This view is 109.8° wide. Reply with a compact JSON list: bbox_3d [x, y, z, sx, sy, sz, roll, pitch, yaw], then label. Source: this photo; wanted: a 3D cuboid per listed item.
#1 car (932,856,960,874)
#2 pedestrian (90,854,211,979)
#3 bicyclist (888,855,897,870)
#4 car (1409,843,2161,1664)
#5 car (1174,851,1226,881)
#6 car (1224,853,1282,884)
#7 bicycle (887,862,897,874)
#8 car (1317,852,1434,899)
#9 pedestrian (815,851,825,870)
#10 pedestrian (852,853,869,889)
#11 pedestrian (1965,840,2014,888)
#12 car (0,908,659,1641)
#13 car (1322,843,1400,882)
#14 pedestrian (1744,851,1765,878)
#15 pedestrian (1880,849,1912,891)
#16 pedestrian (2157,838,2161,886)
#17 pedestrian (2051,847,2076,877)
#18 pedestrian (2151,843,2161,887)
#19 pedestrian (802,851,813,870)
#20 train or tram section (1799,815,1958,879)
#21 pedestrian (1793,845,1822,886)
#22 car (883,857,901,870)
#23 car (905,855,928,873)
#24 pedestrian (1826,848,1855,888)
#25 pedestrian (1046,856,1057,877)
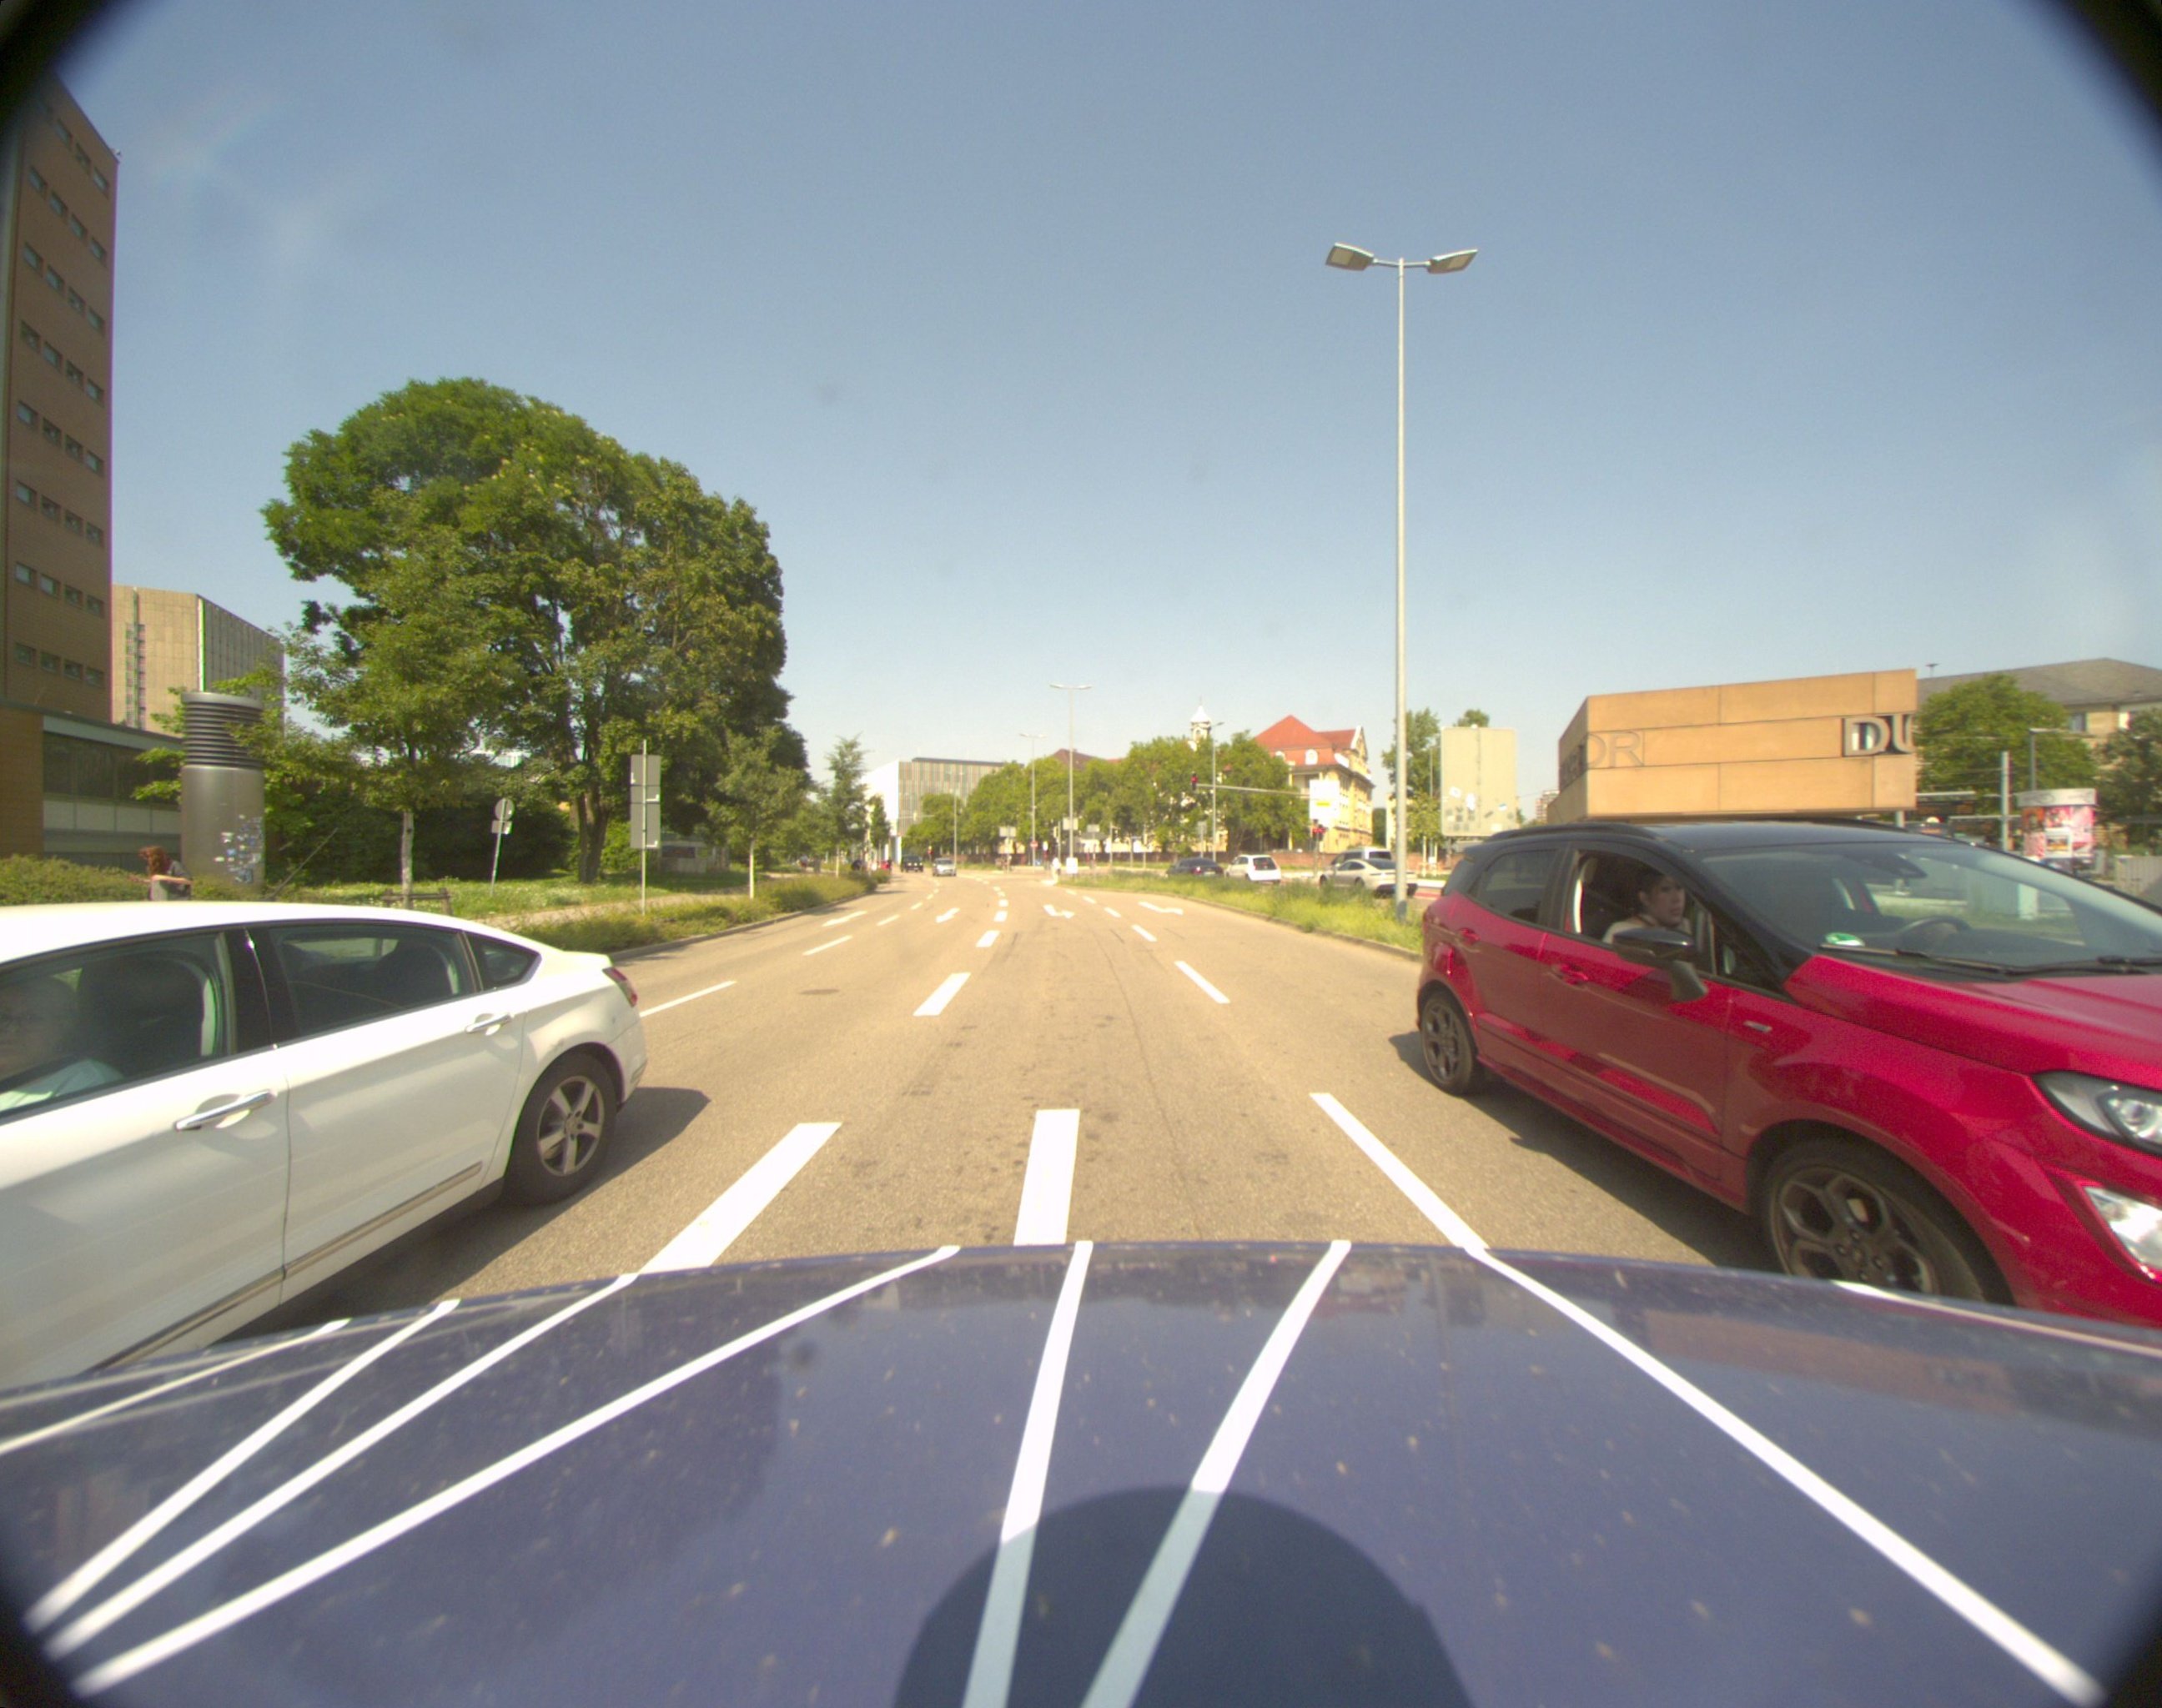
[{"bbox_3d":[-11.939,0.975,67.097,1.661,1.521,4.526,-2,0,-19],"label":"car"},{"bbox_3d":[-13.040,0.849,10.675,0.672,1.689,0.806,0,1,-1],"label":"pedestrian"},{"bbox_3d":[-18.508,0.839,74.520,0.680,1.392,1.047,-1,1,-23],"label":"bicyclist"},{"bbox_3d":[3.030,0.776,3.256,1.694,1.577,3.845,-2,0,2],"label":"car"},{"bbox_3d":[5.713,0.552,36.899,1.526,1.417,3.474,0,0,-8],"label":"car"},{"bbox_3d":[8.681,0.706,38.552,1.527,1.470,3.473,0,0,-12],"label":"car"},{"bbox_3d":[-18.562,1.377,74.640,0.595,1.162,2.231,-1,0,-23],"label":"bicycle"},{"bbox_3d":[10.640,0.729,27.912,2.000,1.576,4.712,0,0,-7],"label":"car"},{"bbox_3d":[-17.867,0.419,52.068,0.577,1.291,0.437,-3,1,-18],"label":"pedestrian"},{"bbox_3d":[-11.785,0.914,40.609,0.823,1.892,0.630,-1,1,-12],"label":"pedestrian"},{"bbox_3d":[28.243,0.308,23.622,0.771,1.488,0.606,0,1,-1],"label":"pedestrian"},{"bbox_3d":[-3.257,1.020,1.897,1.773,1.420,4.609,0,0,1],"label":"car"},{"bbox_3d":[13.823,0.387,37.778,1.869,1.843,3.911,0,1,-12],"label":"car"},{"bbox_3d":[26.900,0.408,30.341,0.538,1.093,0.543,0,1,32],"label":"pedestrian"},{"bbox_3d":[28.820,0.555,26.859,0.539,1.488,0.541,0,1,-1],"label":"pedestrian"},{"bbox_3d":[41.402,0.294,28.475,0.927,1.812,0.939,0,1,28],"label":"pedestrian"},{"bbox_3d":[45.931,0.353,35.527,0.554,1.386,0.534,0,1,28],"label":"pedestrian"},{"bbox_3d":[41.242,0.417,28.403,1.076,1.686,1.066,0,1,28],"label":"pedestrian"},{"bbox_3d":[-18.679,0.459,51.835,0.635,1.291,0.486,-3,1,-17],"label":"pedestrian"},{"bbox_3d":[48.230,-0.391,46.620,2.698,3.418,13.446,0,0,28],"label":"train or tram section"},{"bbox_3d":[26.729,0.408,27.947,0.539,1.488,0.541,0,1,-1],"label":"pedestrian"},{"bbox_3d":[-21.015,1.053,84.351,1.652,1.422,3.810,-2,0,-18],"label":"car"},{"bbox_3d":[-18.509,1.076,85.304,1.893,1.908,4.526,-2,0,-20],"label":"car"},{"bbox_3d":[27.891,0.510,27.905,0.539,1.488,0.541,0,1,-1],"label":"pedestrian"},{"bbox_3d":[-1.906,0.805,48.664,0.605,1.291,0.617,-2,1,-4],"label":"pedestrian"}]
